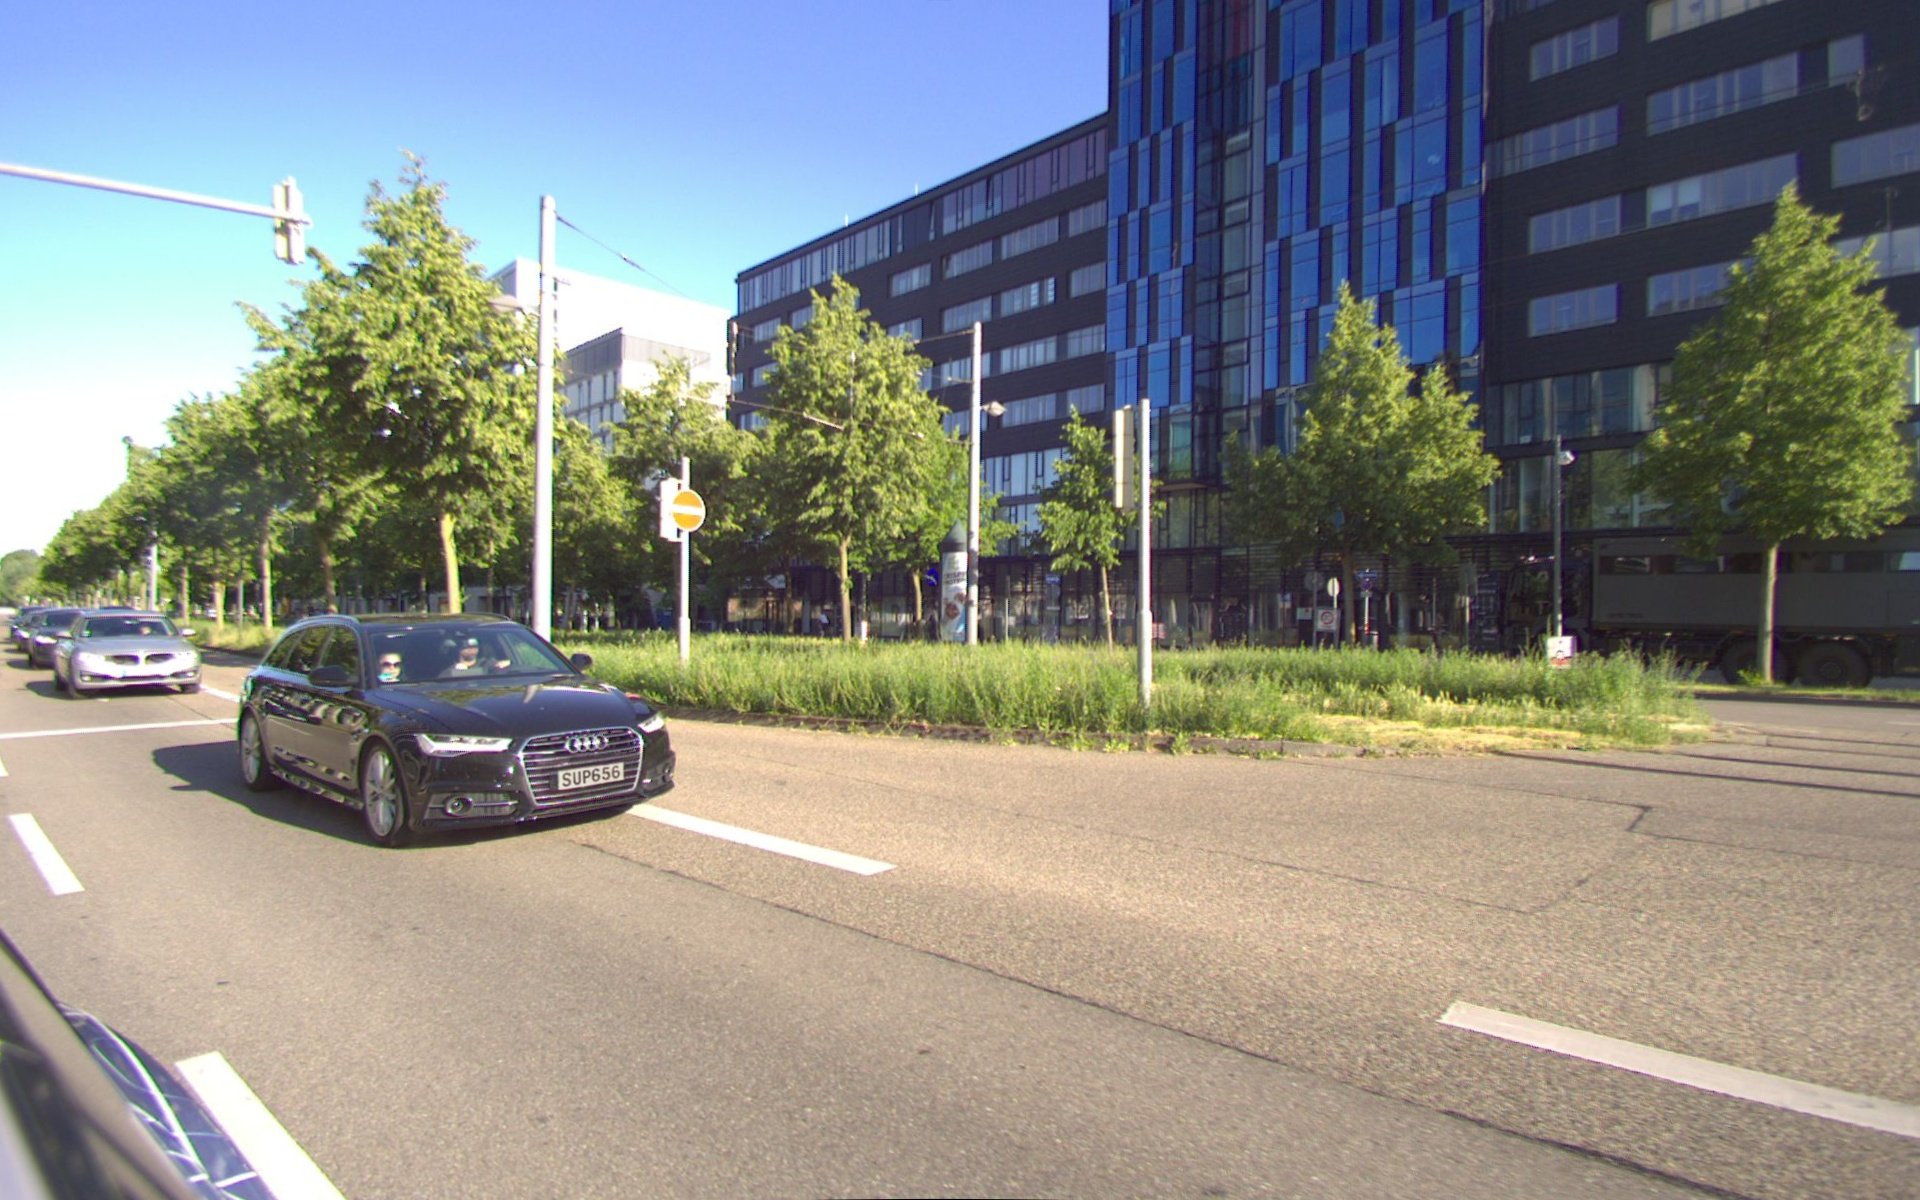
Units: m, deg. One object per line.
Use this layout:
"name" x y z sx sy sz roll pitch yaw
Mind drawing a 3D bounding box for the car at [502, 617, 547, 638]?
"car" -36.018 2.224 83.701 1.832 1.697 4.796 1 -2 -44

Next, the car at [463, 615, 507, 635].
"car" -42.832 2.240 91.218 4.792 1.711 1.985 -1 -2 43

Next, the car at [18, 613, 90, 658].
"car" -31.674 1.212 35.343 1.786 1.465 4.258 1 -2 -43

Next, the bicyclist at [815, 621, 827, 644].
"bicyclist" -8.811 2.070 63.973 0.486 1.416 0.626 0 -1 -44

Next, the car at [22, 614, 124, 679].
"car" -22.913 1.143 26.090 1.787 1.534 4.032 1 -2 -44

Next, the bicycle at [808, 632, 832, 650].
"bicycle" -8.845 2.575 63.998 0.521 1.041 1.849 0 0 -44

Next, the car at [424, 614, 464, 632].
"car" -50.225 2.266 98.457 4.792 1.711 1.985 -1 -2 43

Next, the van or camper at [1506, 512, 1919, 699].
"van or camper" 20.273 0.162 26.465 2.721 4.224 10.238 1 -1 -44

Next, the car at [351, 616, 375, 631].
"car" -69.912 2.751 118.577 1.579 1.682 3.746 1 -2 -44

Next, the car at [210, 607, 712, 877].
"car" -3.963 0.798 7.652 4.505 1.468 1.789 -1 -1 41

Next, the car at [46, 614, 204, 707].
"car" -15.445 1.016 18.619 1.787 1.500 4.745 1 -2 -45

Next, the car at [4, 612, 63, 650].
"car" -40.473 1.331 44.225 1.786 1.602 4.169 1 -2 -43
